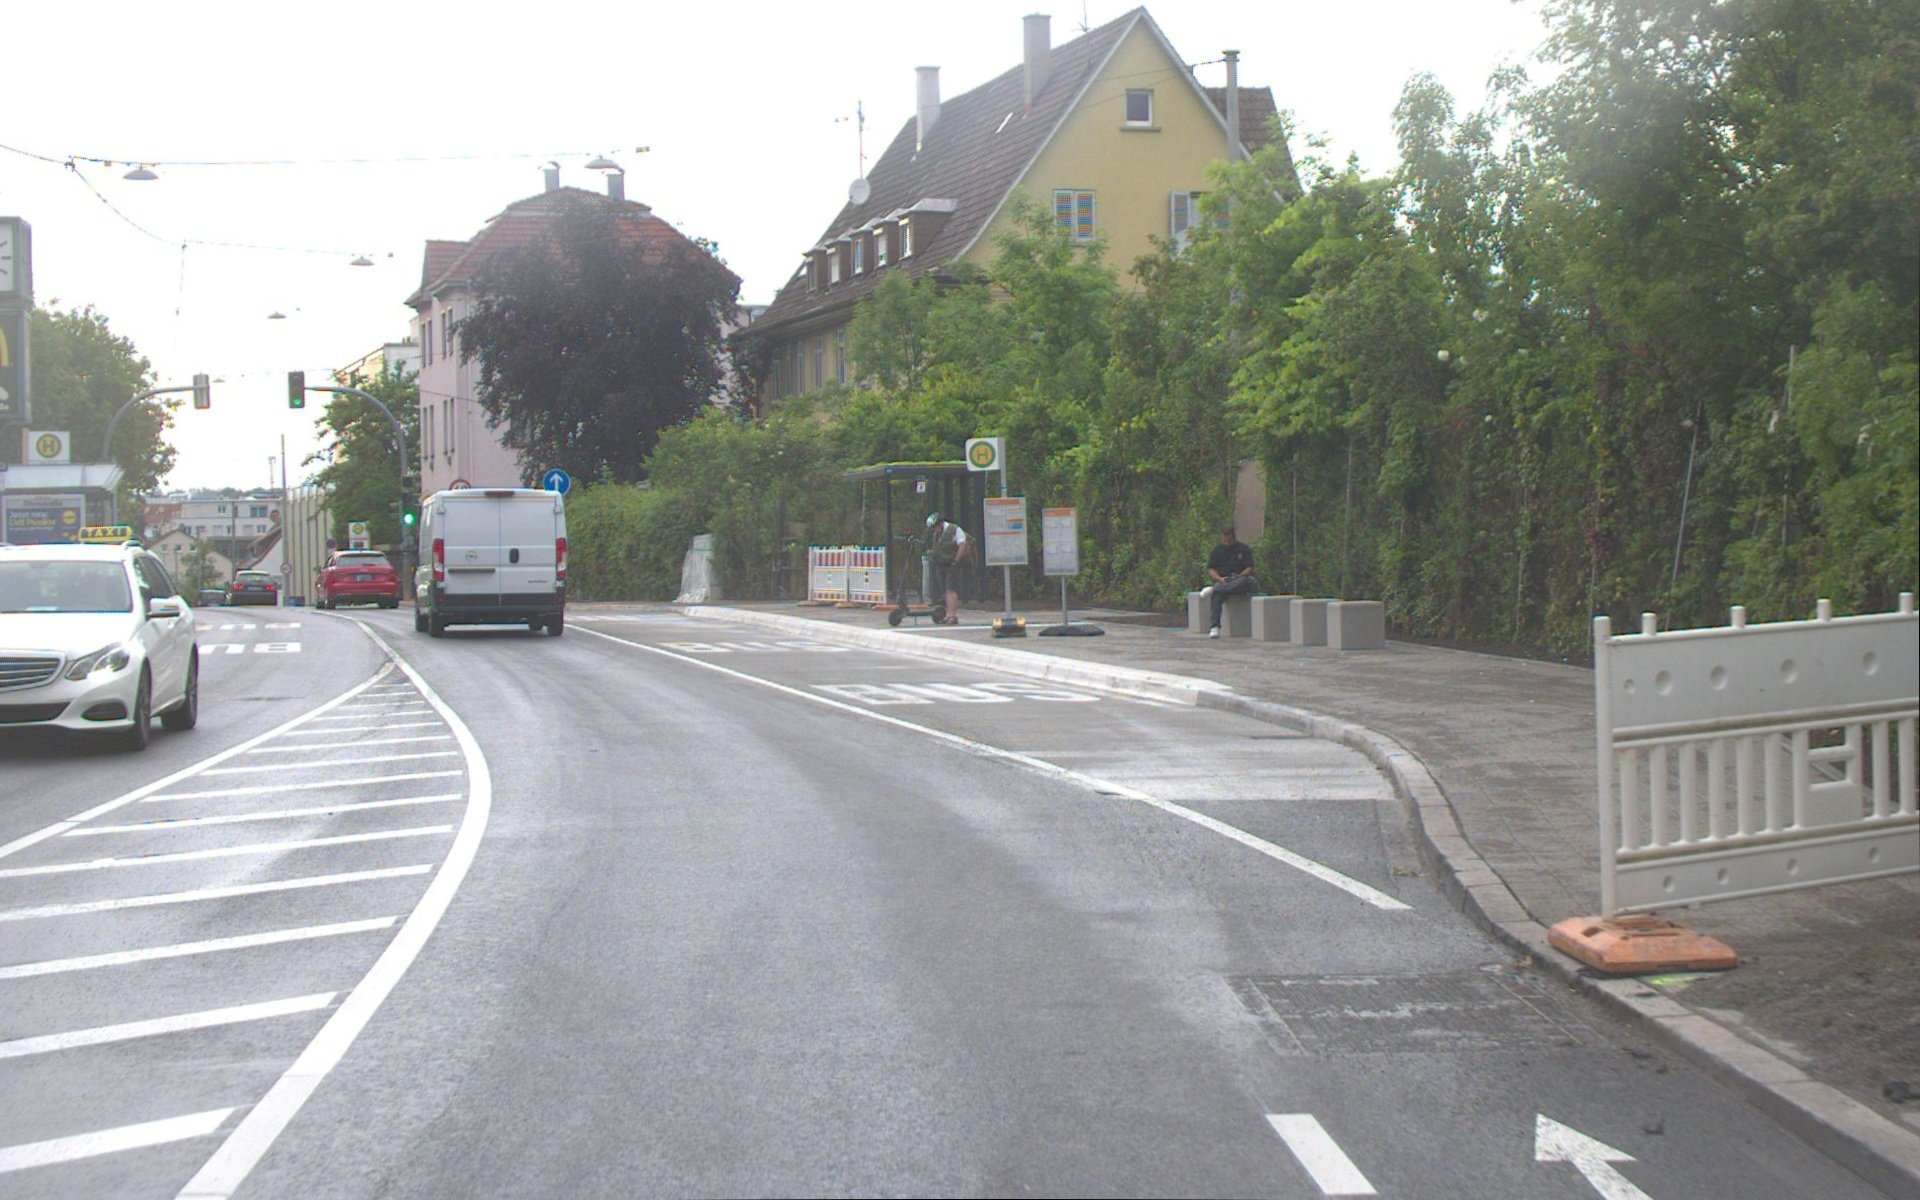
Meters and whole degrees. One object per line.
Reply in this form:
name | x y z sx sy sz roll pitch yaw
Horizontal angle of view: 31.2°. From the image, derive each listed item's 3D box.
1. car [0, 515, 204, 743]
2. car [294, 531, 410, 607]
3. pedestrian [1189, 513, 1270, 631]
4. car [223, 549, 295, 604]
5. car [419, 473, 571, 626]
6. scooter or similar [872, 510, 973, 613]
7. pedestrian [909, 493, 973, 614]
car | -6.784 0.185 25.680 1.928 1.550 4.621 0 0 -9
car | -14.927 -0.782 84.212 2.237 1.651 4.715 0 3 -17
pedestrian | 3.230 -0.344 41.293 0.879 1.362 1.065 0 3 0
car | -25.633 -0.876 125.629 2.237 1.798 4.715 0 3 -16
car | -7.273 -0.834 53.561 2.237 2.205 4.715 0 3 -8
scooter or similar | -0.538 -0.563 49.830 0.497 1.401 1.552 3 5 44
pedestrian | -0.279 -0.680 49.828 0.905 1.725 0.654 1 3 1
